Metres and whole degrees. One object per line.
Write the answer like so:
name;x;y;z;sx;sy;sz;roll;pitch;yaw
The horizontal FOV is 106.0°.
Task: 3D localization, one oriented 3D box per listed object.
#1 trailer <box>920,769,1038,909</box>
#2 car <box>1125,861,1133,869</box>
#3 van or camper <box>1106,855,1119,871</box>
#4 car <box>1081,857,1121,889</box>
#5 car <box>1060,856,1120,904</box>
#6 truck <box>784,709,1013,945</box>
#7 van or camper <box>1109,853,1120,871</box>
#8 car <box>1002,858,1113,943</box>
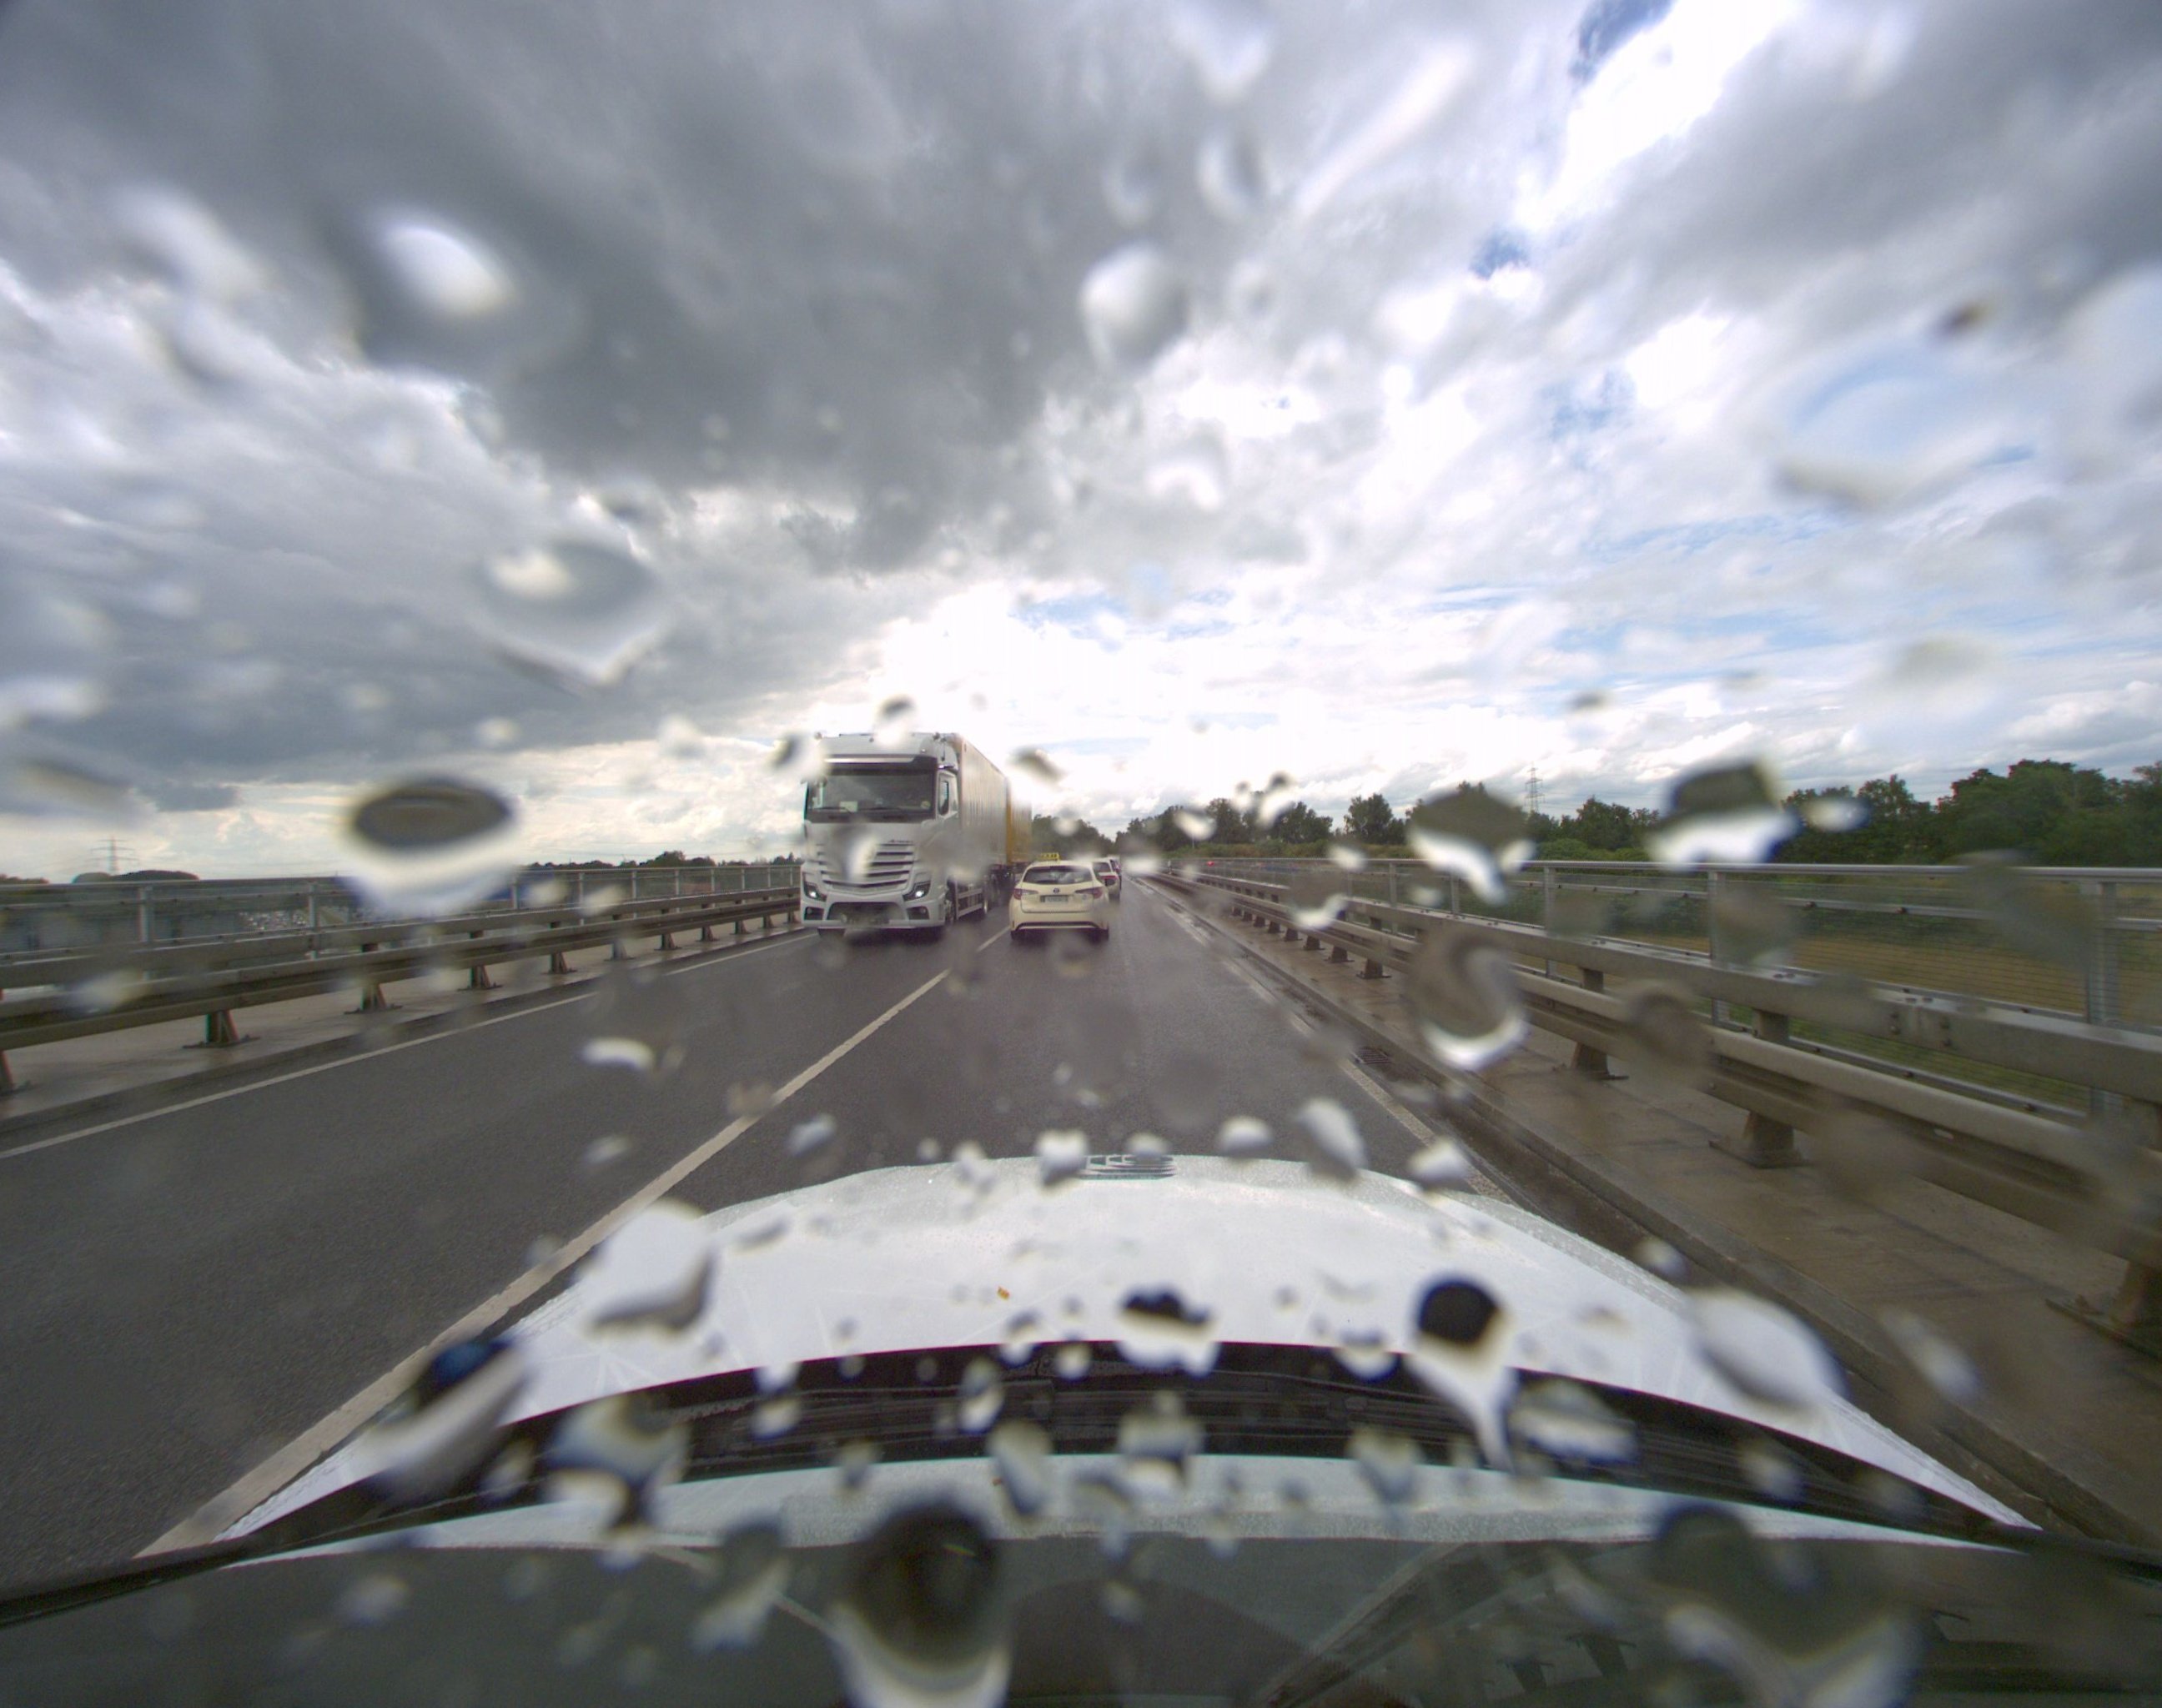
trailer;-3.243;-0.438;28.283;2.672;4.075;8.489;-1;0;2
car;13.452;3.027;227.143;1.986;2.014;4.001;0;0;1
van or camper;5.580;1.584;143.768;2.324;2.864;6.309;0;0;2
car;0.976;0.884;39.257;1.847;1.443;4.172;0;0;2
car;0.344;0.806;27.209;1.847;1.443;4.172;0;0;2
truck;-3.566;-0.460;18.996;2.672;4.017;10.059;-1;0;2
van or camper;6.884;1.649;168.087;2.324;3.563;6.309;0;0;2
car;-0.330;0.799;15.766;1.847;1.394;4.172;0;0;2
